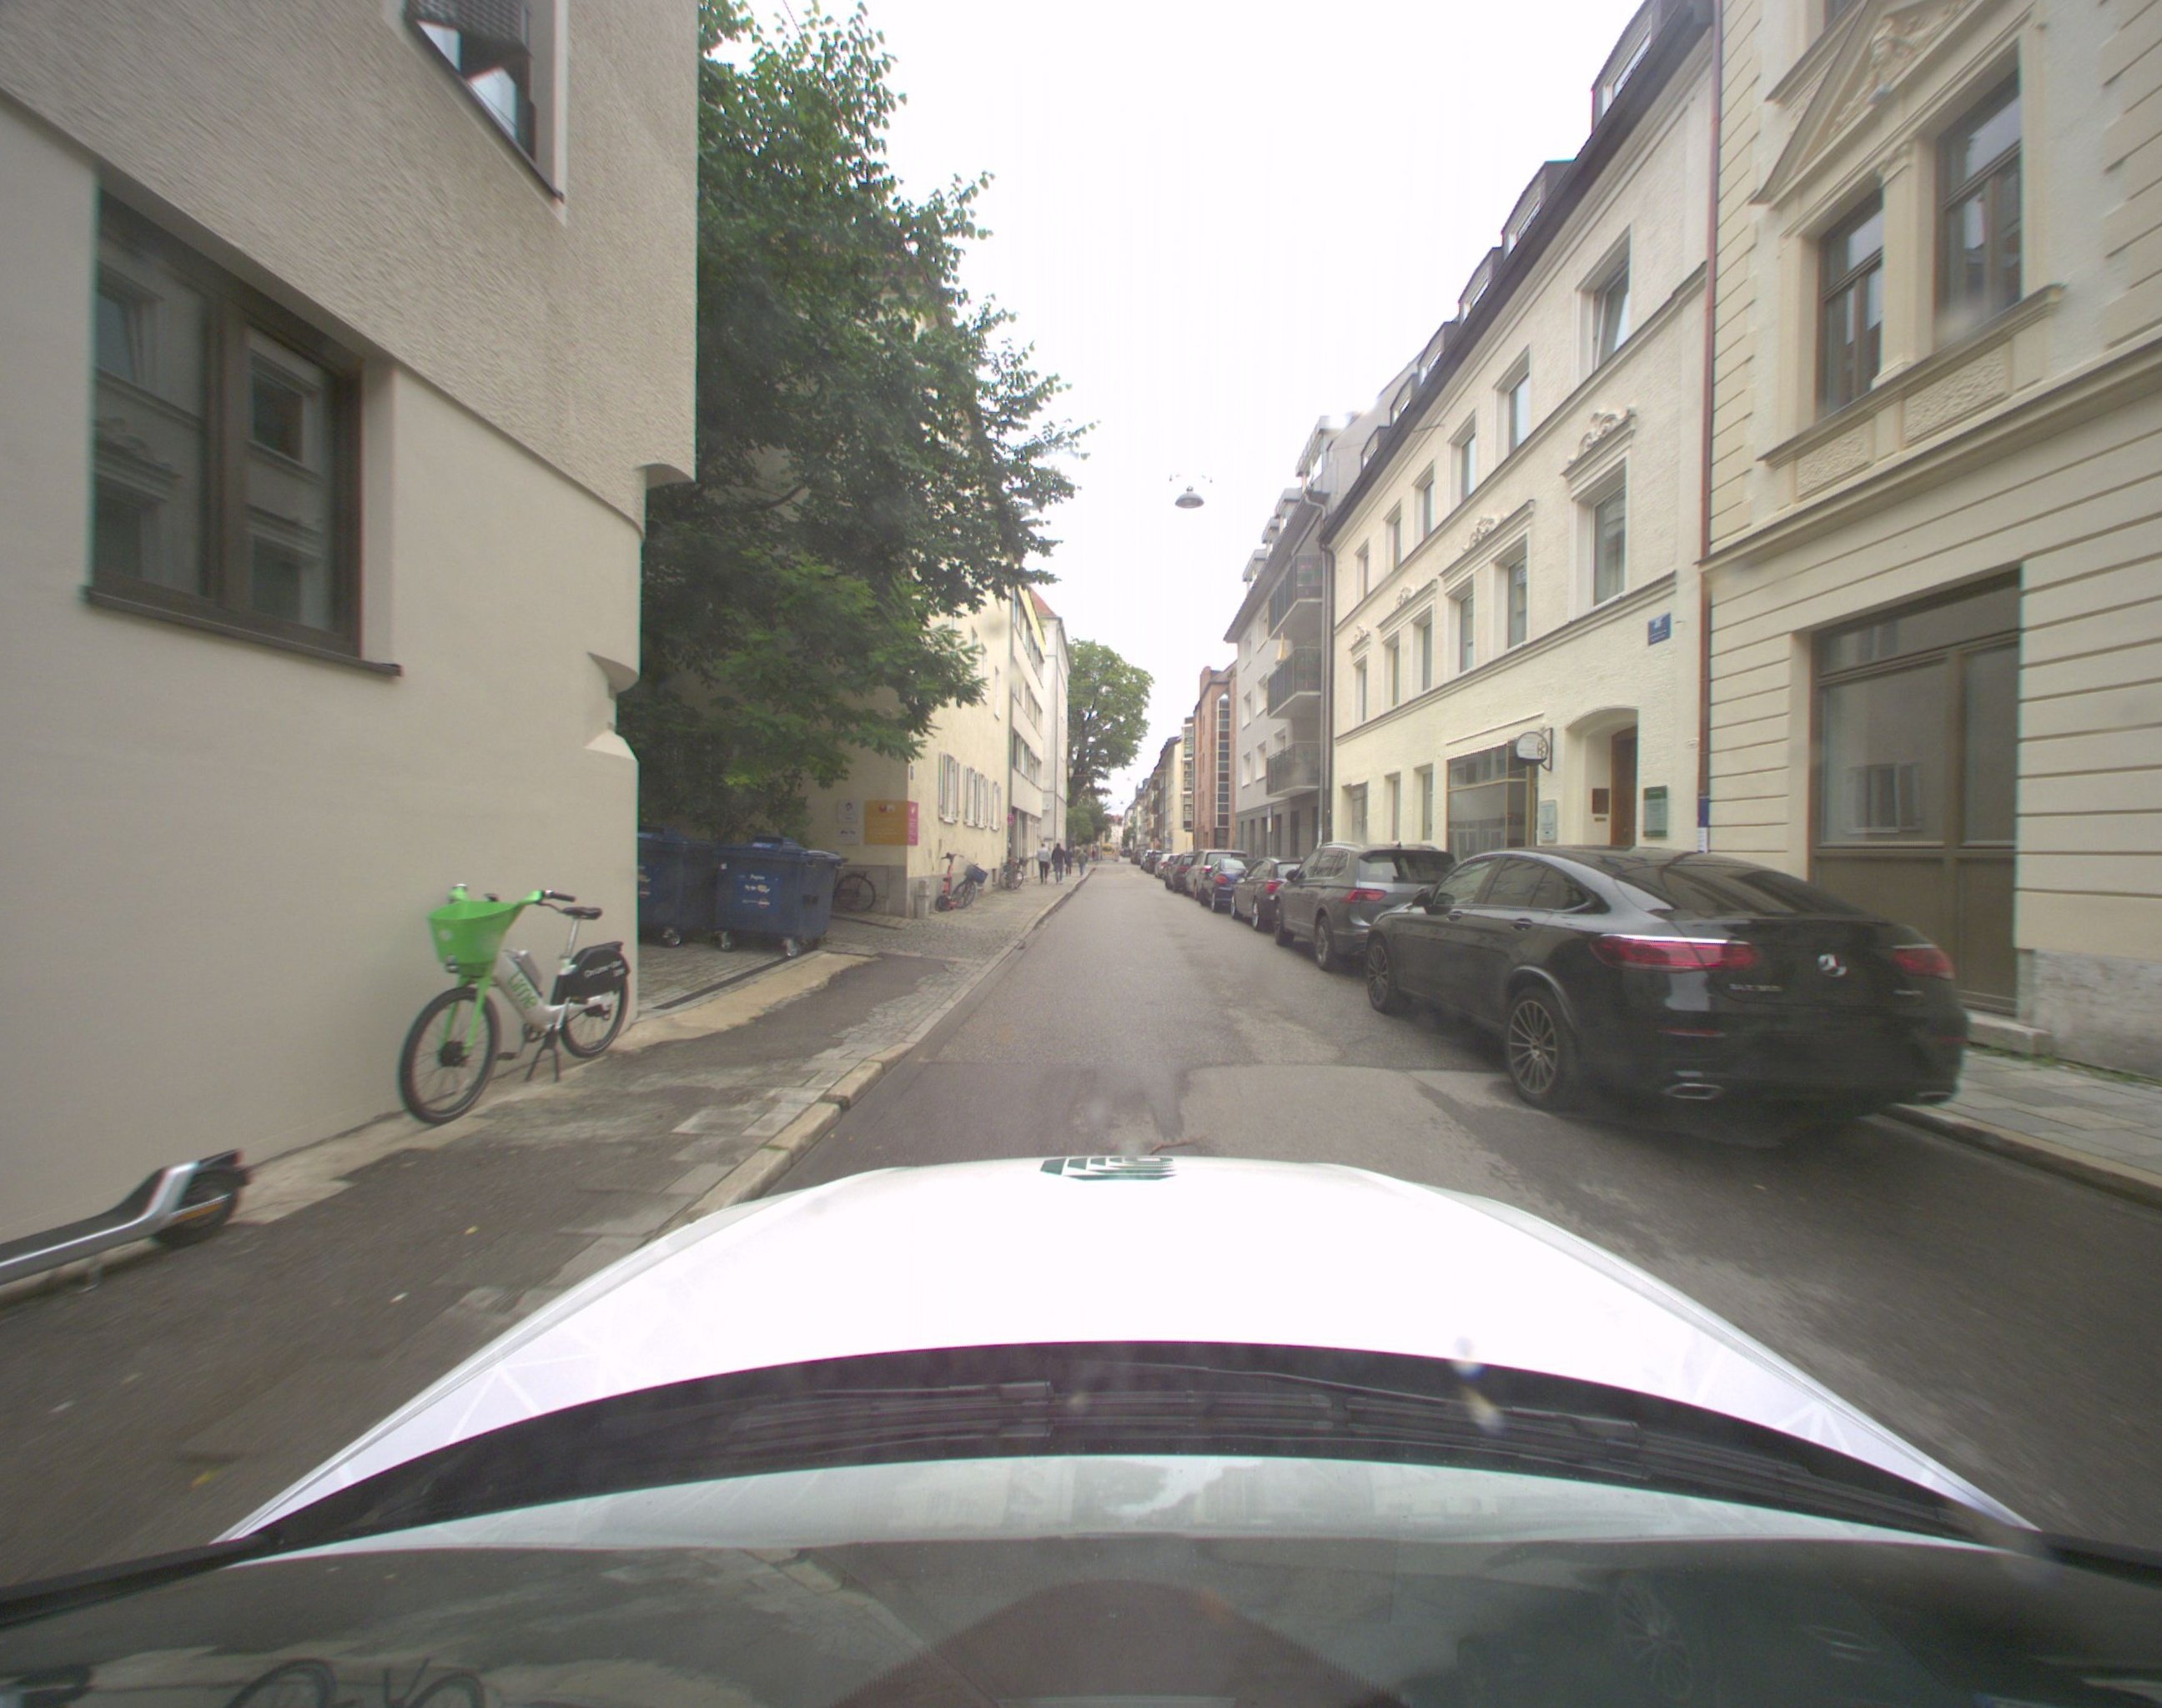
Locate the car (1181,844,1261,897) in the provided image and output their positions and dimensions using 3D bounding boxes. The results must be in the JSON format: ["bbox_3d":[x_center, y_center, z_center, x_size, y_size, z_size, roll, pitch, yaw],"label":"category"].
[{"bbox_3d":[4.451,0.484,26.480,1.869,1.570,4.316,-1,0,0],"label":"car"}]

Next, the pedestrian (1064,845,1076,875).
[{"bbox_3d":[-0.654,0.343,48.117,0.610,1.713,0.823,2,0,1],"label":"pedestrian"}]

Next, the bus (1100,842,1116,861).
[{"bbox_3d":[4.664,-0.468,138.672,2.582,3.102,6.309,-1,0,2],"label":"bus"}]

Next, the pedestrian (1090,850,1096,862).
[{"bbox_3d":[1.625,0.254,107.102,0.753,1.491,0.832,-1,0,2],"label":"pedestrian"}]

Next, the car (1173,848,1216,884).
[{"bbox_3d":[5.105,0.511,36.907,1.516,1.511,3.203,1,0,1],"label":"car"}]

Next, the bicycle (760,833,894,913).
[{"bbox_3d":[-4.556,0.334,14.674,2.192,1.298,0.514,3,0,1],"label":"bicycle"}]

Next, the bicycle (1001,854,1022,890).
[{"bbox_3d":[-2.369,0.600,27.965,0.456,1.159,1.606,2,0,3],"label":"bicycle"}]

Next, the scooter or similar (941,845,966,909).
[{"bbox_3d":[-2.826,0.493,18.093,0.316,1.375,1.239,-1,0,2],"label":"scooter or similar"}]

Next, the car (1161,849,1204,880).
[{"bbox_3d":[5.148,0.496,41.777,1.739,1.462,4.151,1,0,1],"label":"car"}]

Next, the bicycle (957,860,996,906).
[{"bbox_3d":[-2.531,0.680,19.819,0.702,0.984,1.821,4,0,-2],"label":"bicycle"}]

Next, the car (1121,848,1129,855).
[{"bbox_3d":[10.735,-0.628,198.781,1.794,1.614,4.003,1,0,2],"label":"car"}]

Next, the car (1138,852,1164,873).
[{"bbox_3d":[5.692,0.696,66.640,1.743,1.630,4.196,0,0,0],"label":"car"}]

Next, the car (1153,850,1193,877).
[{"bbox_3d":[5.198,0.514,46.380,1.830,1.417,4.602,1,0,1],"label":"car"}]

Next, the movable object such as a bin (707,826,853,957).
[{"bbox_3d":[-3.741,0.423,10.247,1.168,1.442,1.251,5,2,8],"label":"movable object such as a bin"}]

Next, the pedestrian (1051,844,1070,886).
[{"bbox_3d":[-0.859,0.464,34.820,0.715,1.765,0.838,2,0,2],"label":"pedestrian"}]

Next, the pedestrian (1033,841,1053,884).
[{"bbox_3d":[-1.606,0.350,34.651,0.715,1.796,0.917,2,0,2],"label":"pedestrian"}]

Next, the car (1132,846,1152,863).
[{"bbox_3d":[6.912,0.057,92.707,1.795,1.820,4.000,4,0,0],"label":"car"}]

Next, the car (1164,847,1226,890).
[{"bbox_3d":[4.318,0.520,31.373,1.833,1.528,4.294,1,0,1],"label":"car"}]

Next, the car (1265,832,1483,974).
[{"bbox_3d":[3.948,0.556,11.804,1.669,1.661,4.515,0,0,2],"label":"car"}]

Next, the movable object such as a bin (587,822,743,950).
[{"bbox_3d":[-5.167,0.359,10.223,1.169,1.405,1.250,5,2,4],"label":"movable object such as a bin"}]

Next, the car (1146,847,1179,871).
[{"bbox_3d":[5.574,0.336,56.226,1.879,1.555,4.391,1,0,0],"label":"car"}]

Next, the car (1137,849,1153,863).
[{"bbox_3d":[6.911,0.177,88.343,1.618,1.487,3.811,1,0,2],"label":"car"}]

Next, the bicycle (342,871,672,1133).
[{"bbox_3d":[-3.163,0.714,4.756,0.542,1.161,1.882,2,0,1],"label":"bicycle"}]

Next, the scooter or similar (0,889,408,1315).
[{"bbox_3d":[-3.193,0.725,2.690,0.547,1.144,1.365,3,0,19],"label":"scooter or similar"}]

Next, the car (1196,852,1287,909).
[{"bbox_3d":[4.138,0.634,21.564,1.800,1.363,3.948,-1,0,3],"label":"car"}]

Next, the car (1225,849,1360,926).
[{"bbox_3d":[4.233,0.608,17.021,1.793,1.385,4.350,-1,0,1],"label":"car"}]

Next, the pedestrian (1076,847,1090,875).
[{"bbox_3d":[0.124,0.419,48.272,0.750,1.659,0.907,2,0,2],"label":"pedestrian"}]

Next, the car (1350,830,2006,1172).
[{"bbox_3d":[3.598,0.677,6.205,1.695,1.607,4.687,0,0,2],"label":"car"}]

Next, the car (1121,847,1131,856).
[{"bbox_3d":[9.341,-0.507,170.352,1.795,1.711,3.827,4,0,0],"label":"car"}]

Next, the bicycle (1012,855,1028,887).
[{"bbox_3d":[-2.226,0.603,29.678,0.560,1.159,1.718,0,0,-4],"label":"bicycle"}]

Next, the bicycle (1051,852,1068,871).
[{"bbox_3d":[-1.398,0.465,52.640,0.643,1.217,1.655,0,0,-17],"label":"bicycle"}]
